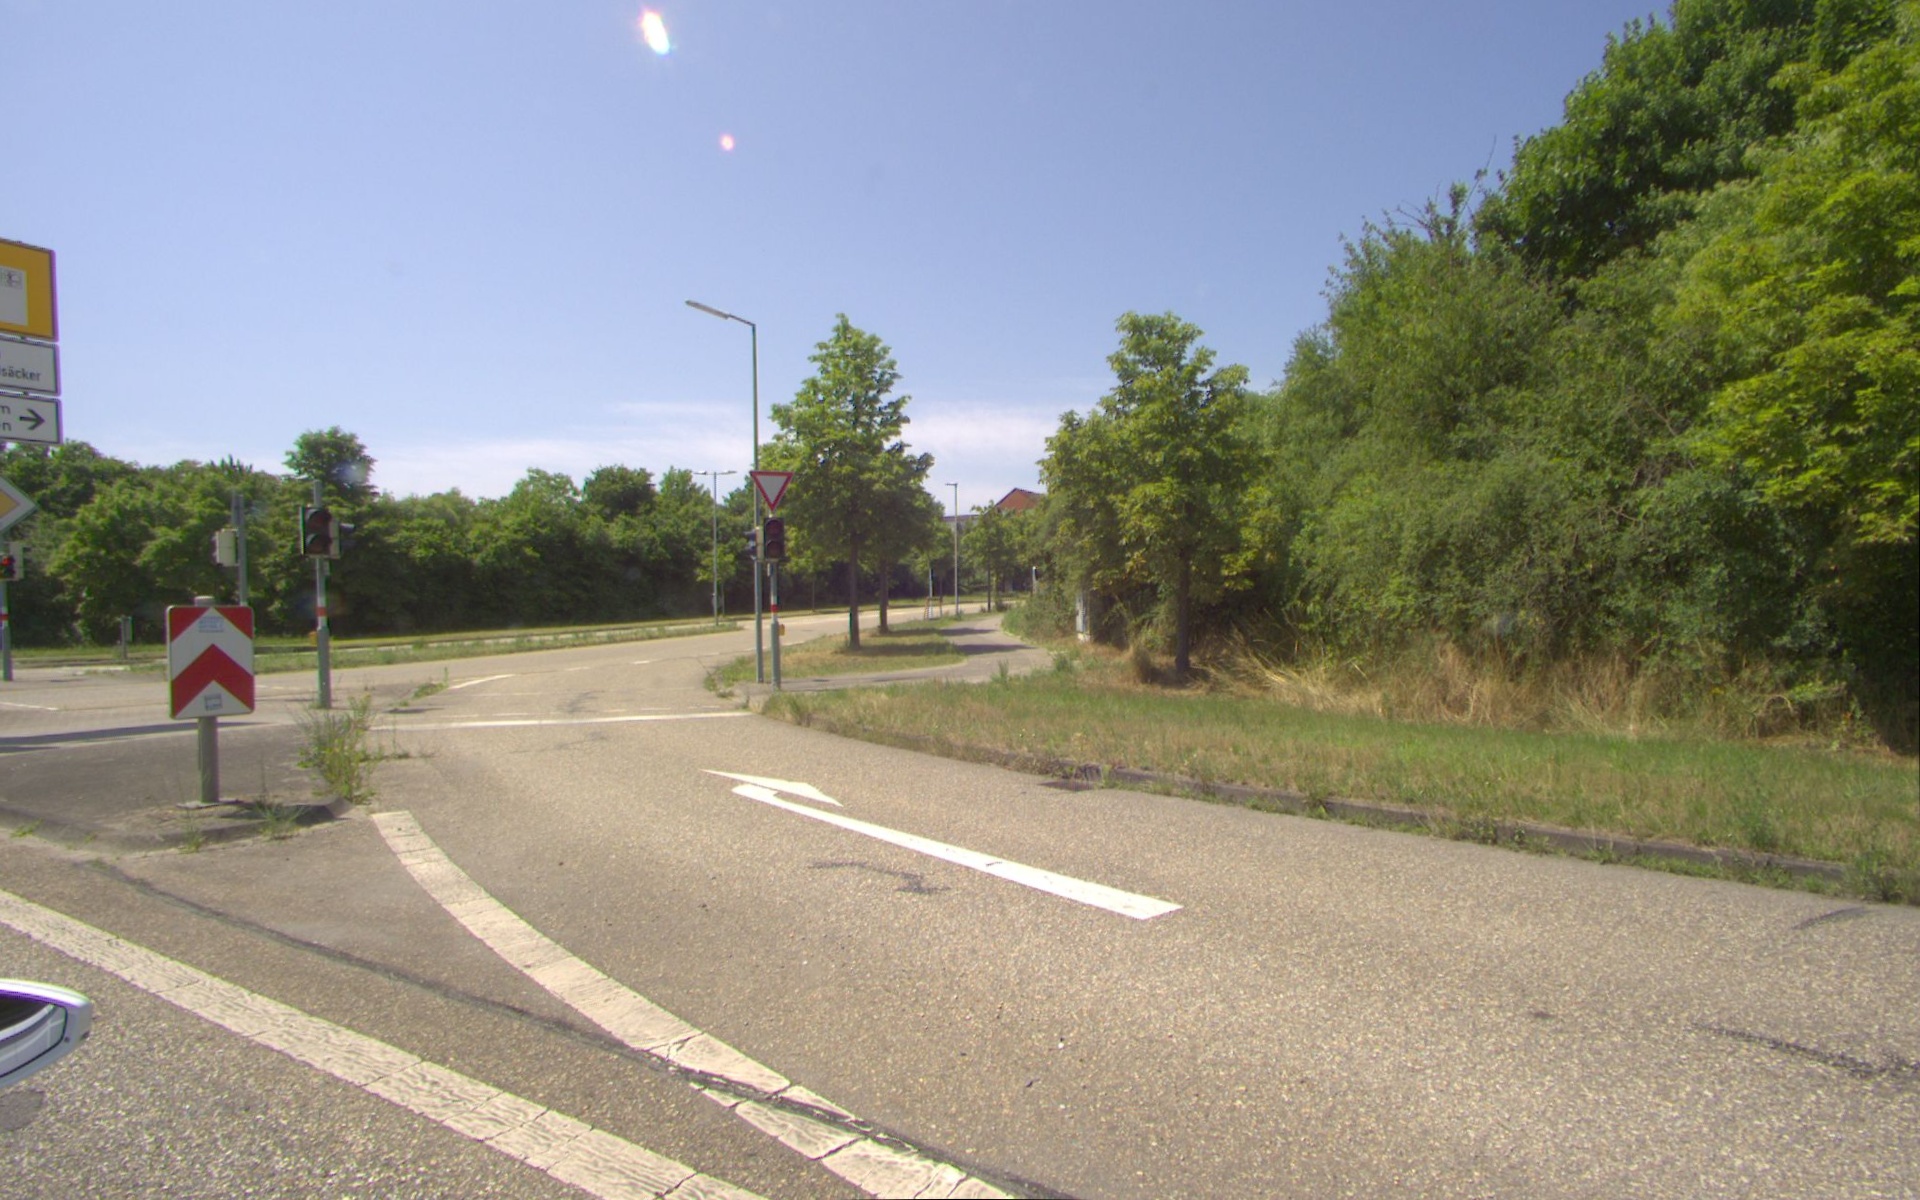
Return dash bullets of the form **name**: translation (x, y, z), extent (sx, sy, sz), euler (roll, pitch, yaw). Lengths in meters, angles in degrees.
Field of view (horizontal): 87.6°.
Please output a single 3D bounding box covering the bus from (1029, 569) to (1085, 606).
- **bus**: translation (8.891, -1.035, 90.491), extent (2.584, 3.127, 12.060), euler (0, 0, 18)
